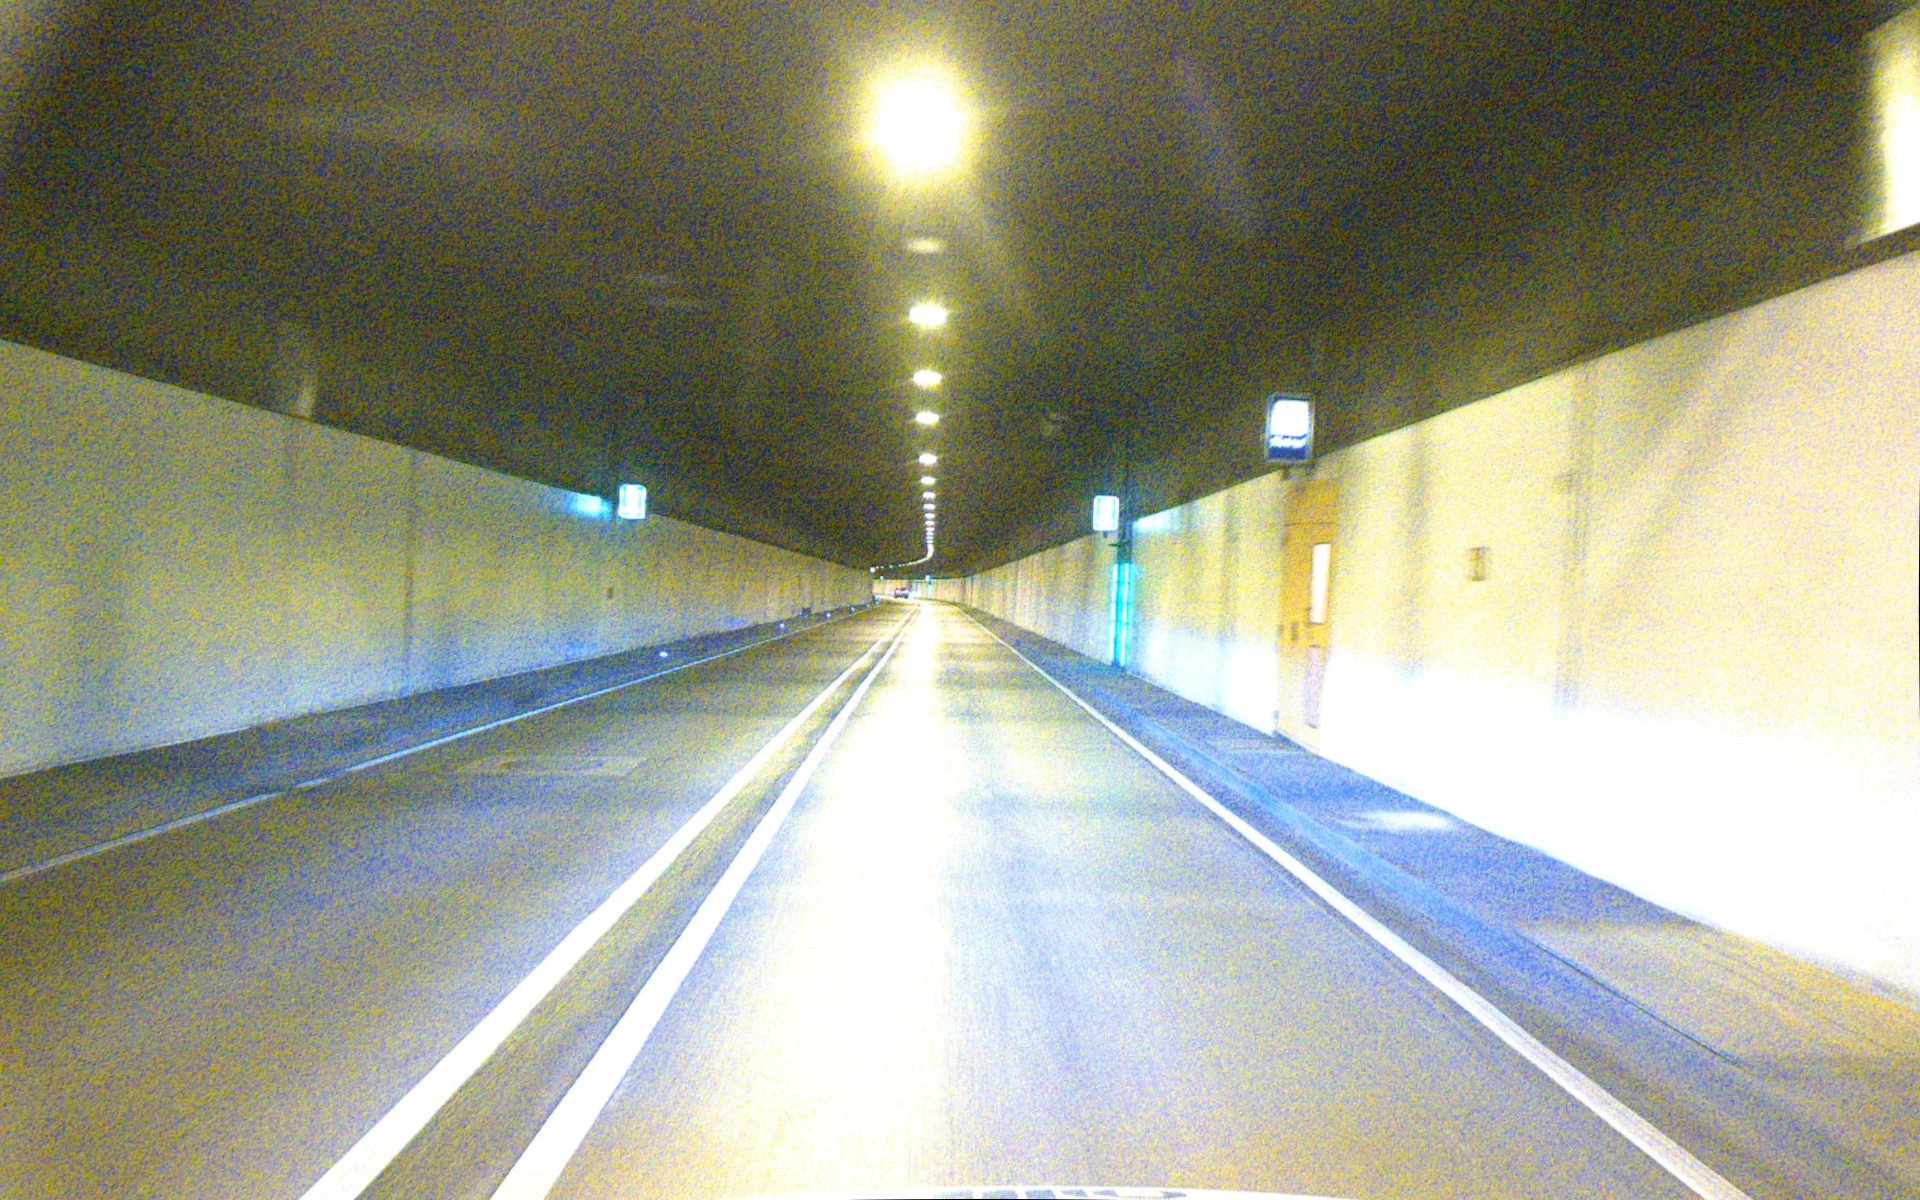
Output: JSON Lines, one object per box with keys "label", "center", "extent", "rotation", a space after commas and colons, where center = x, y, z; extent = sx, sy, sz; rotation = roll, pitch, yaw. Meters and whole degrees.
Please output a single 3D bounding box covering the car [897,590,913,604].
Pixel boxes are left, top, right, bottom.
{"label": "car", "center": [-8.032, -0.433, 242.371], "extent": [1.929, 1.972, 4.607], "rotation": [2, -1, -5]}
